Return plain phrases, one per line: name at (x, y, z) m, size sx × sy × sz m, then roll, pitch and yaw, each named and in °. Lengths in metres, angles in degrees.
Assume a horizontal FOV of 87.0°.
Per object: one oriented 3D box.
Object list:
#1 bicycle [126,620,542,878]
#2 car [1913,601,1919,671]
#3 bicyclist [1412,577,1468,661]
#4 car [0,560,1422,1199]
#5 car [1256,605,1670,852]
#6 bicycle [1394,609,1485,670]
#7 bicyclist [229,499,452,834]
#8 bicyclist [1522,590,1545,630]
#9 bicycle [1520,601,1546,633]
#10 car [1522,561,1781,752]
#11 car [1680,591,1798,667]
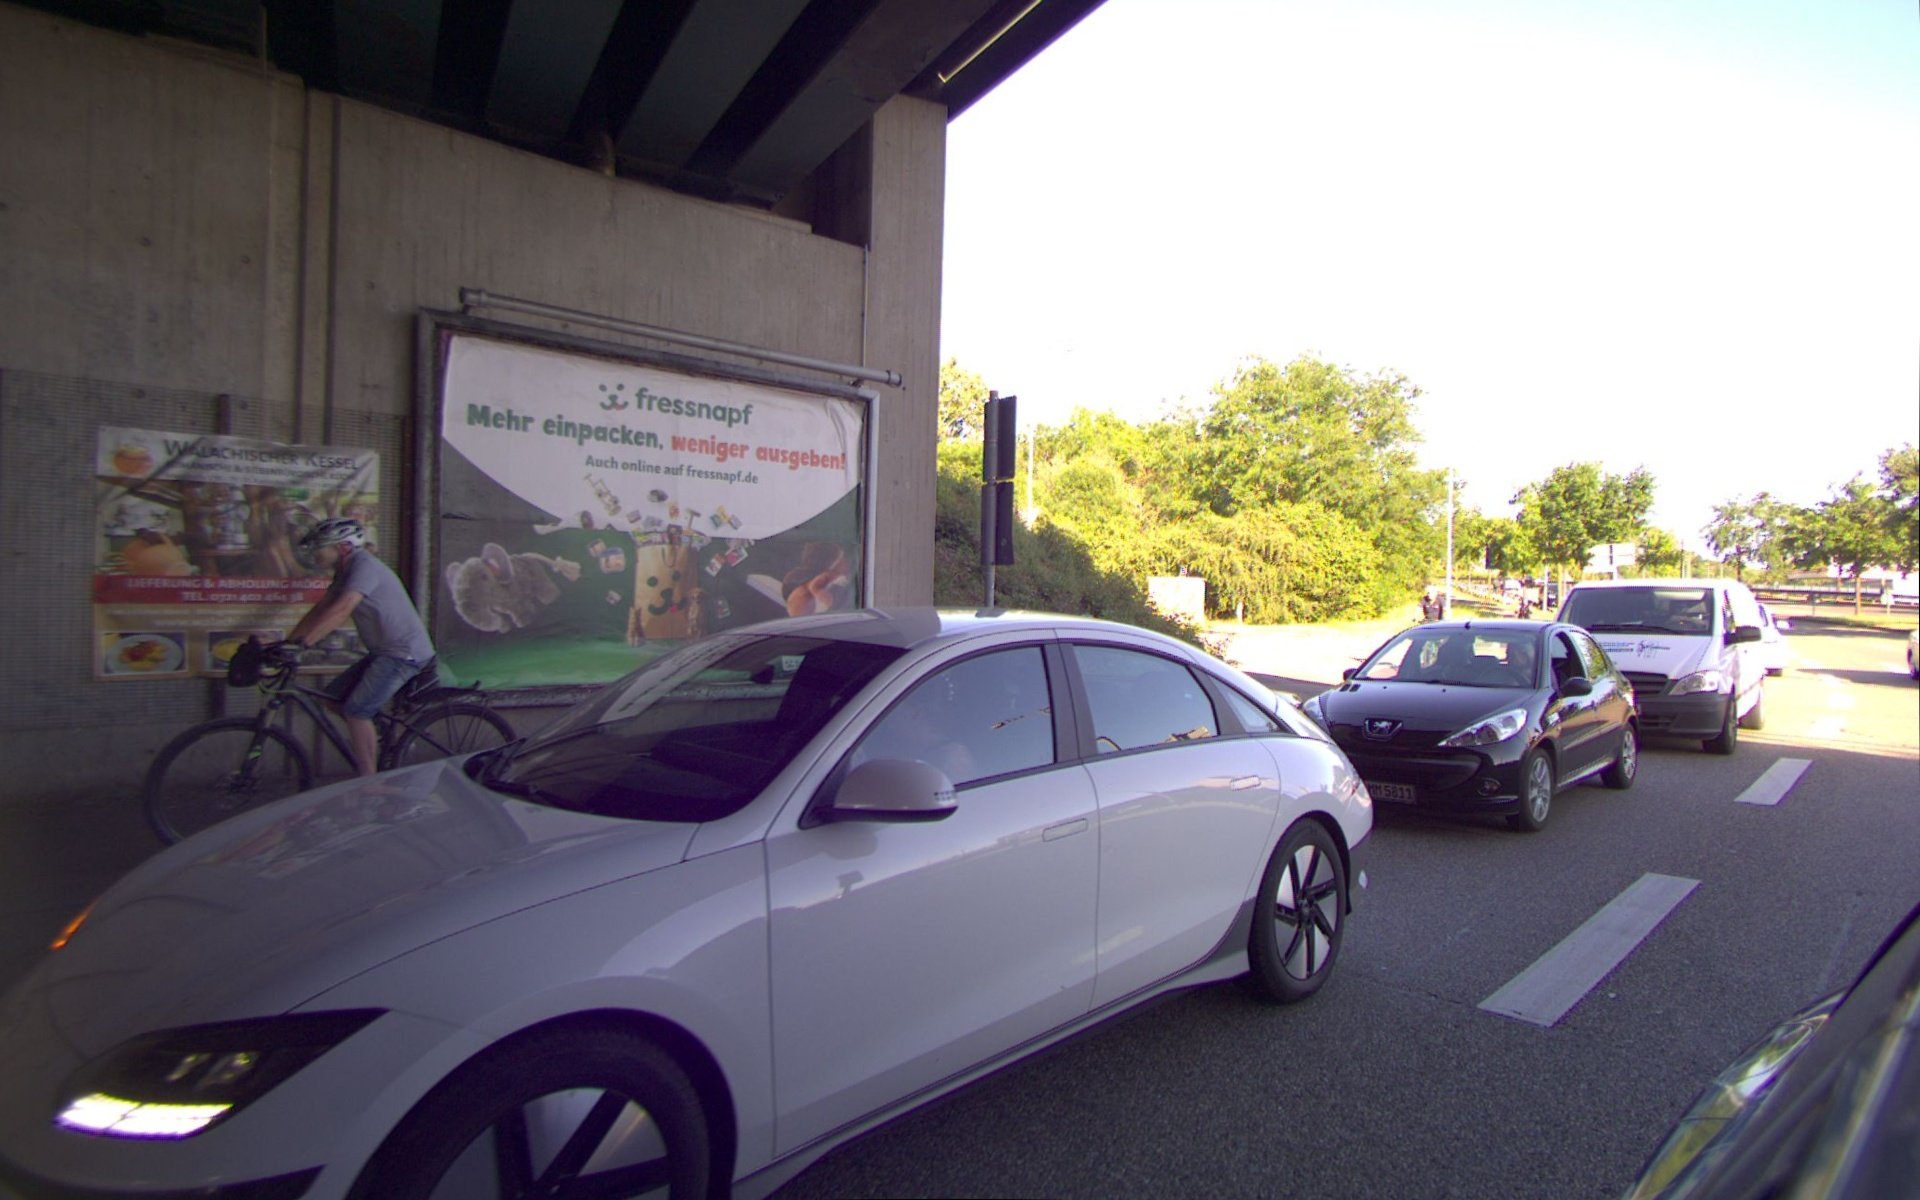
bicycle at (-3.170, 0.665, 5.222) m, size 1.729 × 1.070 × 0.703 m, roll 1°, pitch 2°, yaw -39°
car at (20.275, 0.780, 19.726) m, size 1.690 × 1.473 × 4.346 m, roll -2°, pitch 0°, yaw 33°
bicyclist at (9.943, 0.381, 20.955) m, size 0.870 × 1.676 × 0.748 m, roll 0°, pitch 0°, yaw -40°
car at (-0.251, 0.676, 3.492) m, size 4.585 × 1.474 × 1.747 m, roll 0°, pitch 0°, yaw -43°
car at (4.130, 0.796, 8.074) m, size 3.652 × 1.474 × 1.748 m, roll 0°, pitch 0°, yaw -42°
bicycle at (9.948, 0.788, 20.950) m, size 2.426 × 1.160 × 0.767 m, roll -1°, pitch 0°, yaw -40°
bicyclist at (-3.180, 0.283, 5.192) m, size 0.893 × 1.542 × 0.697 m, roll 0°, pitch 3°, yaw -39°
bicyclist at (22.909, 0.376, 40.431) m, size 0.648 × 1.552 × 0.840 m, roll 3°, pitch 2°, yaw 25°
bicycle at (22.922, 0.680, 40.500) m, size 0.646 × 1.181 × 1.764 m, roll 4°, pitch 2°, yaw 24°
car at (8.495, 0.548, 12.238) m, size 1.897 × 1.859 × 4.760 m, roll 0°, pitch 0°, yaw 43°
car at (18.239, 0.589, 23.615) m, size 1.991 × 1.570 × 4.356 m, roll 0°, pitch 1°, yaw 40°
